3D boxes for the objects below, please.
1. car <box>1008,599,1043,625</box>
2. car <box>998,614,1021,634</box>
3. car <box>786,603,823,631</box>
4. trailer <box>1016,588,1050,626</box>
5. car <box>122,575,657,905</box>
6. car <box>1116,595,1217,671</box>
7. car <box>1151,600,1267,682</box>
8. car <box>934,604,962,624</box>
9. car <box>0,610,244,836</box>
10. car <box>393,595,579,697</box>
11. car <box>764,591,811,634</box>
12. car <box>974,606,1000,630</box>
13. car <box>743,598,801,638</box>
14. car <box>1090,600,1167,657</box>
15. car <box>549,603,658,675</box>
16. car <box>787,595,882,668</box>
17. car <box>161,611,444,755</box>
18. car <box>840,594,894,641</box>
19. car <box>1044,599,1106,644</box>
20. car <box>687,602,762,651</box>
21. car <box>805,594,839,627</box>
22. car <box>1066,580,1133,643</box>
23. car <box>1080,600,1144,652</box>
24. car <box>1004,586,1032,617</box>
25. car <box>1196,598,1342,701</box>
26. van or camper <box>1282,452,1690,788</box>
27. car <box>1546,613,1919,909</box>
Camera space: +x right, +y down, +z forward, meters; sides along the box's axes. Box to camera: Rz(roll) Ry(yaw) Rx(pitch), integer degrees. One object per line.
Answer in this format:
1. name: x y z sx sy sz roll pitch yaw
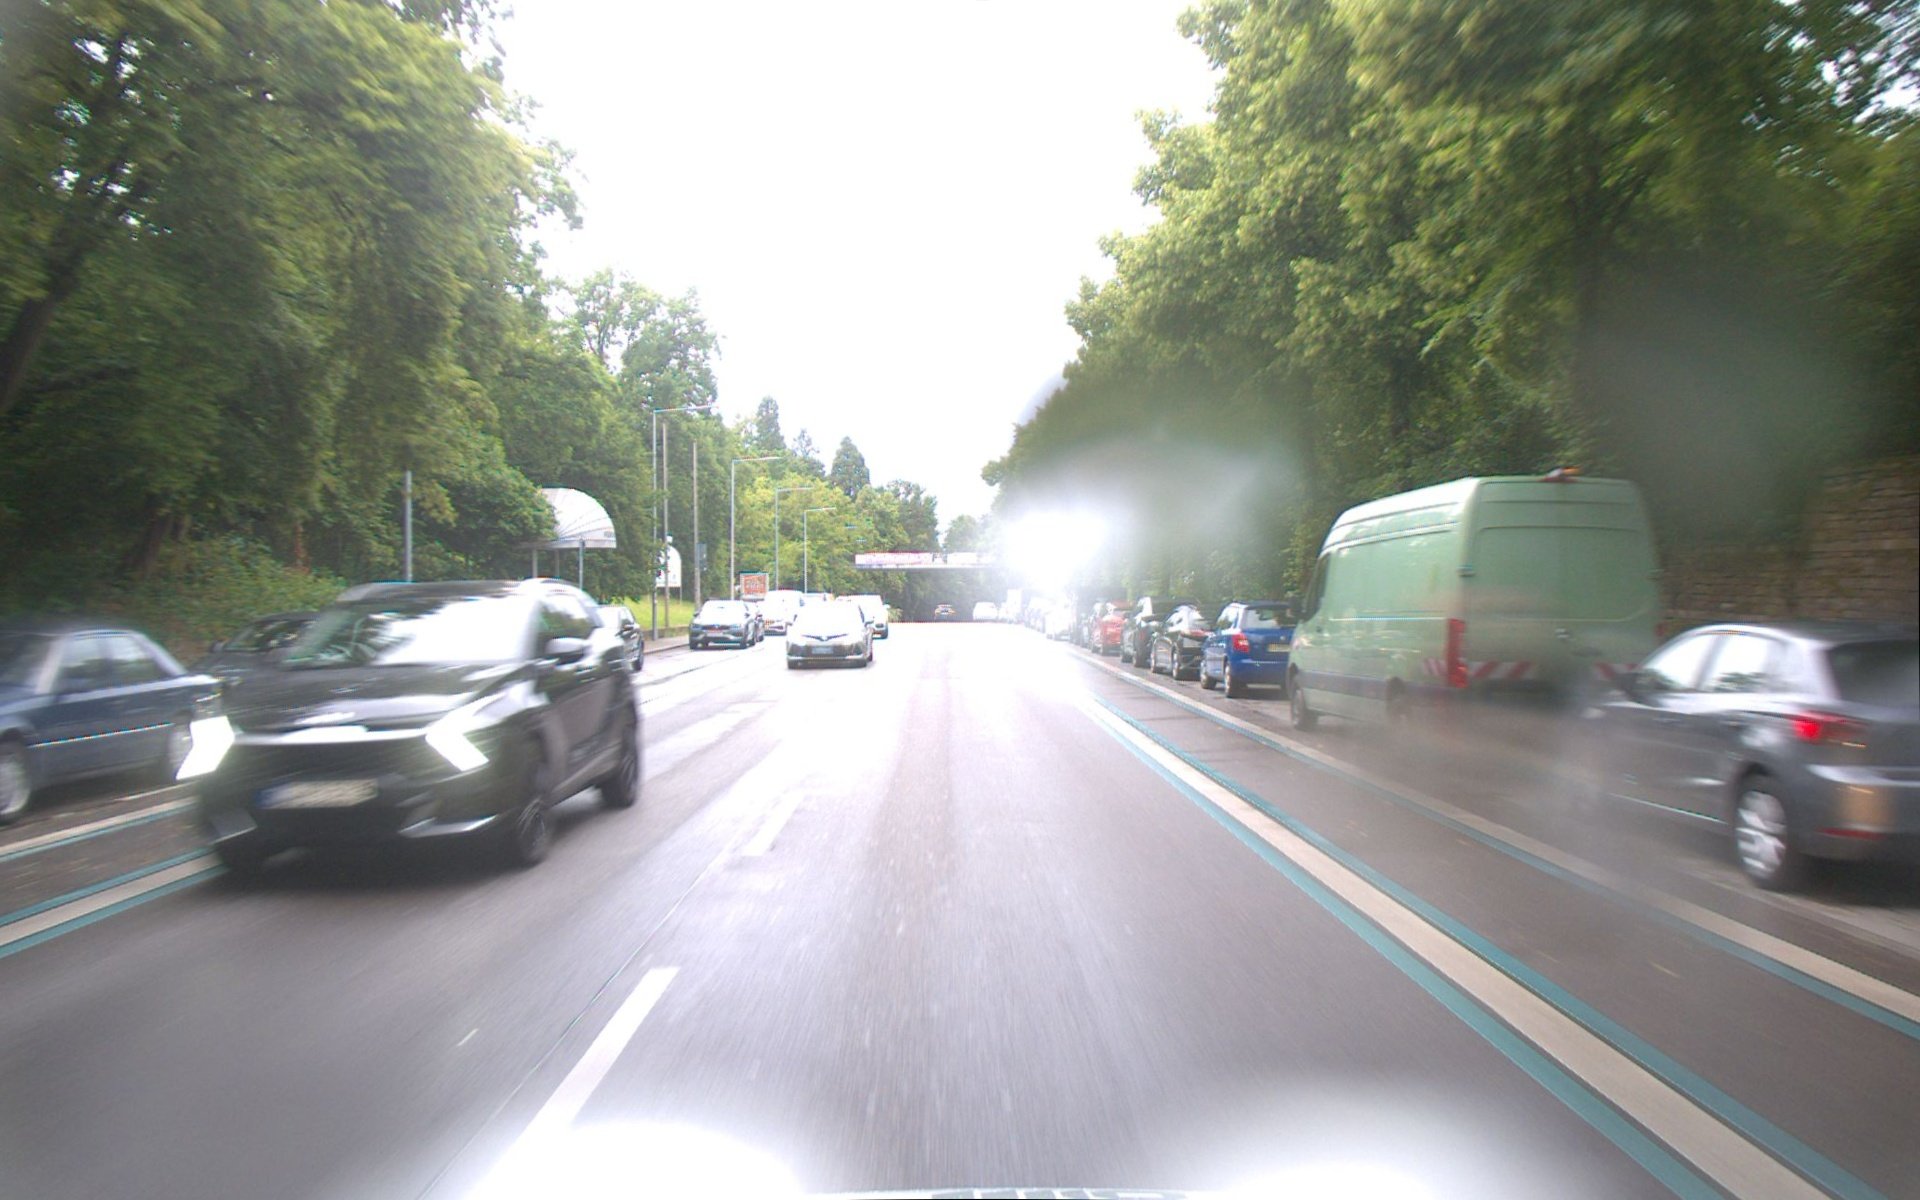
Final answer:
1. car: 4.092 0.760 104.148 1.697 1.611 4.149 -1 0 -5
2. car: 3.868 1.884 128.900 1.695 1.488 4.045 -1 0 0
3. car: -8.472 0.890 90.239 1.696 1.414 4.369 0 1 -1
4. trailer: 4.381 0.414 100.040 1.845 2.204 3.808 -1 0 0
5. car: -3.301 0.700 10.594 1.926 1.656 4.320 -1 0 0
6. car: 4.716 0.712 38.271 1.720 1.617 4.498 1 0 0
7. car: 4.901 0.775 33.037 1.651 1.481 4.145 1 0 0
8. car: -1.010 1.144 137.204 2.098 1.518 4.495 1 0 -4
9. car: -7.796 0.888 13.410 1.943 1.498 4.896 1 1 -2
10. car: -7.627 0.682 27.076 1.917 1.488 4.753 0 1 -3
11. car: -8.286 0.578 79.783 1.874 1.965 4.927 0 1 -1
12. car: 1.933 1.268 117.254 1.696 1.611 4.035 -1 0 -1
13. car: -8.299 0.761 73.520 1.949 1.633 4.985 -1 1 0
14. car: 4.654 0.763 46.127 1.651 1.478 4.165 1 0 0
15. car: -7.897 0.830 36.913 1.637 1.483 3.992 1 0 -2
16. car: -2.838 0.696 38.358 1.882 1.588 4.620 0 0 0
17. car: -7.661 0.893 19.741 1.748 1.448 4.294 0 1 -1
18. car: -3.511 0.633 63.105 1.759 1.680 4.129 -2 0 0
19. car: 4.240 0.780 61.770 1.753 1.570 4.887 1 0 -2
20. car: -7.721 0.840 54.616 2.036 1.508 4.670 0 0 -3
21. car: -8.468 0.621 101.963 1.845 1.979 4.824 0 1 -2
22. car: 4.739 0.373 56.894 1.887 2.057 4.663 0 0 0
23. car: 4.666 0.772 51.071 1.573 1.478 3.746 1 0 0
24. car: 4.109 0.111 116.767 1.850 2.164 4.045 1 0 0
25. car: 5.058 0.767 27.508 1.651 1.540 3.834 1 0 0
26. van or camper: 5.099 0.157 17.364 2.000 2.777 6.900 1 0 0
27. car: 5.226 0.828 10.335 1.651 1.441 4.099 1 0 0
